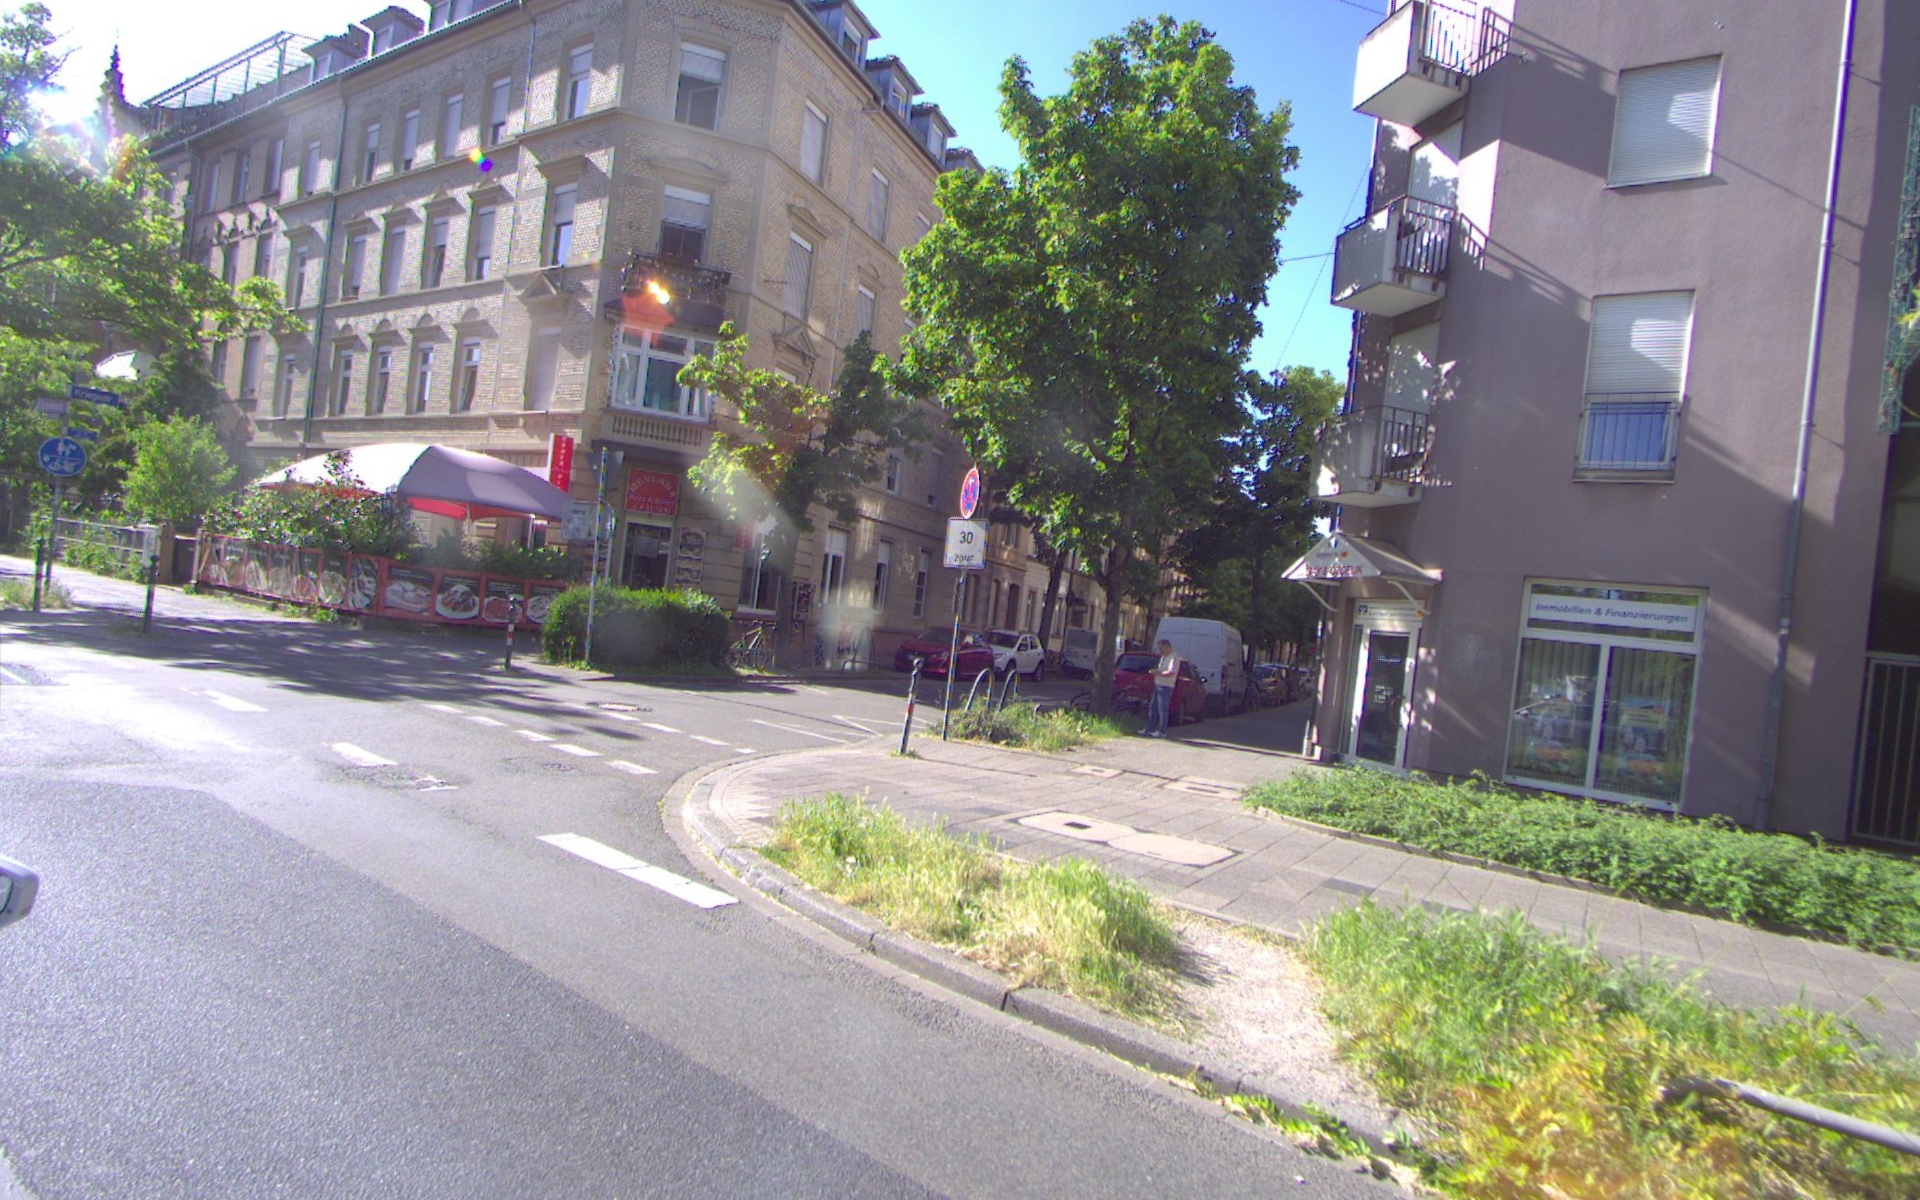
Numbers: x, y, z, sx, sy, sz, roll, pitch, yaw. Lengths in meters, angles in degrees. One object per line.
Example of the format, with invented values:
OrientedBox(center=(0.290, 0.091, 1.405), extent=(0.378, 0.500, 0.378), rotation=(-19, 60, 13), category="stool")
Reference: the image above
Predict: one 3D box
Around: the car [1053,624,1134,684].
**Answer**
OrientedBox(center=(5.554, 2.269, 41.381), extent=(1.961, 2.052, 4.304), rotation=(6, -2, 25), category="car")

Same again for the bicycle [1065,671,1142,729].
OrientedBox(center=(2.447, 1.693, 17.158), extent=(1.182, 0.833, 0.293), rotation=(6, 0, 24), category="bicycle")

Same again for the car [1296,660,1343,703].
OrientedBox(center=(18.631, 4.227, 52.078), extent=(1.746, 1.904, 3.999), rotation=(6, -2, 25), category="car")

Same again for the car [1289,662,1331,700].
OrientedBox(center=(20.324, 4.663, 58.343), extent=(1.746, 1.904, 3.998), rotation=(6, -1, 25), category="car")

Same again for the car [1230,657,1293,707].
OrientedBox(center=(11.473, 3.084, 38.164), extent=(1.665, 1.575, 3.820), rotation=(6, -1, 24), category="car")

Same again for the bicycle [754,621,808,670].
OrientedBox(center=(-3.839, 0.986, 21.644), extent=(0.386, 0.985, 1.313), rotation=(6, -1, 23), category="bicycle")

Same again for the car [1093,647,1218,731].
OrientedBox(center=(4.370, 1.910, 22.007), extent=(1.662, 1.480, 3.998), rotation=(6, -1, 25), category="car")

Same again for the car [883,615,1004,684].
OrientedBox(center=(-0.382, 1.437, 28.245), extent=(1.747, 1.457, 4.002), rotation=(10, -1, 23), category="car")

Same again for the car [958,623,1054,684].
OrientedBox(center=(1.557, 1.765, 32.457), extent=(1.664, 1.614, 4.002), rotation=(6, -2, 23), category="car")

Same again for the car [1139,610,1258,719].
OrientedBox(center=(6.658, 1.771, 27.650), extent=(2.180, 2.481, 5.094), rotation=(6, -1, 22), category="car")

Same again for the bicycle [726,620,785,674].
OrientedBox(center=(-4.041, 0.947, 19.970), extent=(0.386, 0.985, 1.313), rotation=(6, -1, 23), category="bicycle")

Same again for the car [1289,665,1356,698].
OrientedBox(center=(23.964, 5.386, 66.519), extent=(3.928, 1.603, 1.819), rotation=(7, -3, 25), category="car")

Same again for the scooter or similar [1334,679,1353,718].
OrientedBox(center=(12.396, 3.172, 32.532), extent=(0.413, 1.161, 1.373), rotation=(5, -1, 24), category="scooter or similar")

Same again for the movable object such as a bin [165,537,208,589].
OrientedBox(center=(-18.192, -0.868, 23.667), extent=(0.543, 1.147, 0.568), rotation=(6, 0, 35), category="movable object such as a bin")

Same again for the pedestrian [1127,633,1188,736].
OrientedBox(center=(3.243, 1.390, 16.553), extent=(0.526, 1.596, 0.629), rotation=(6, 0, -31), category="pedestrian")
